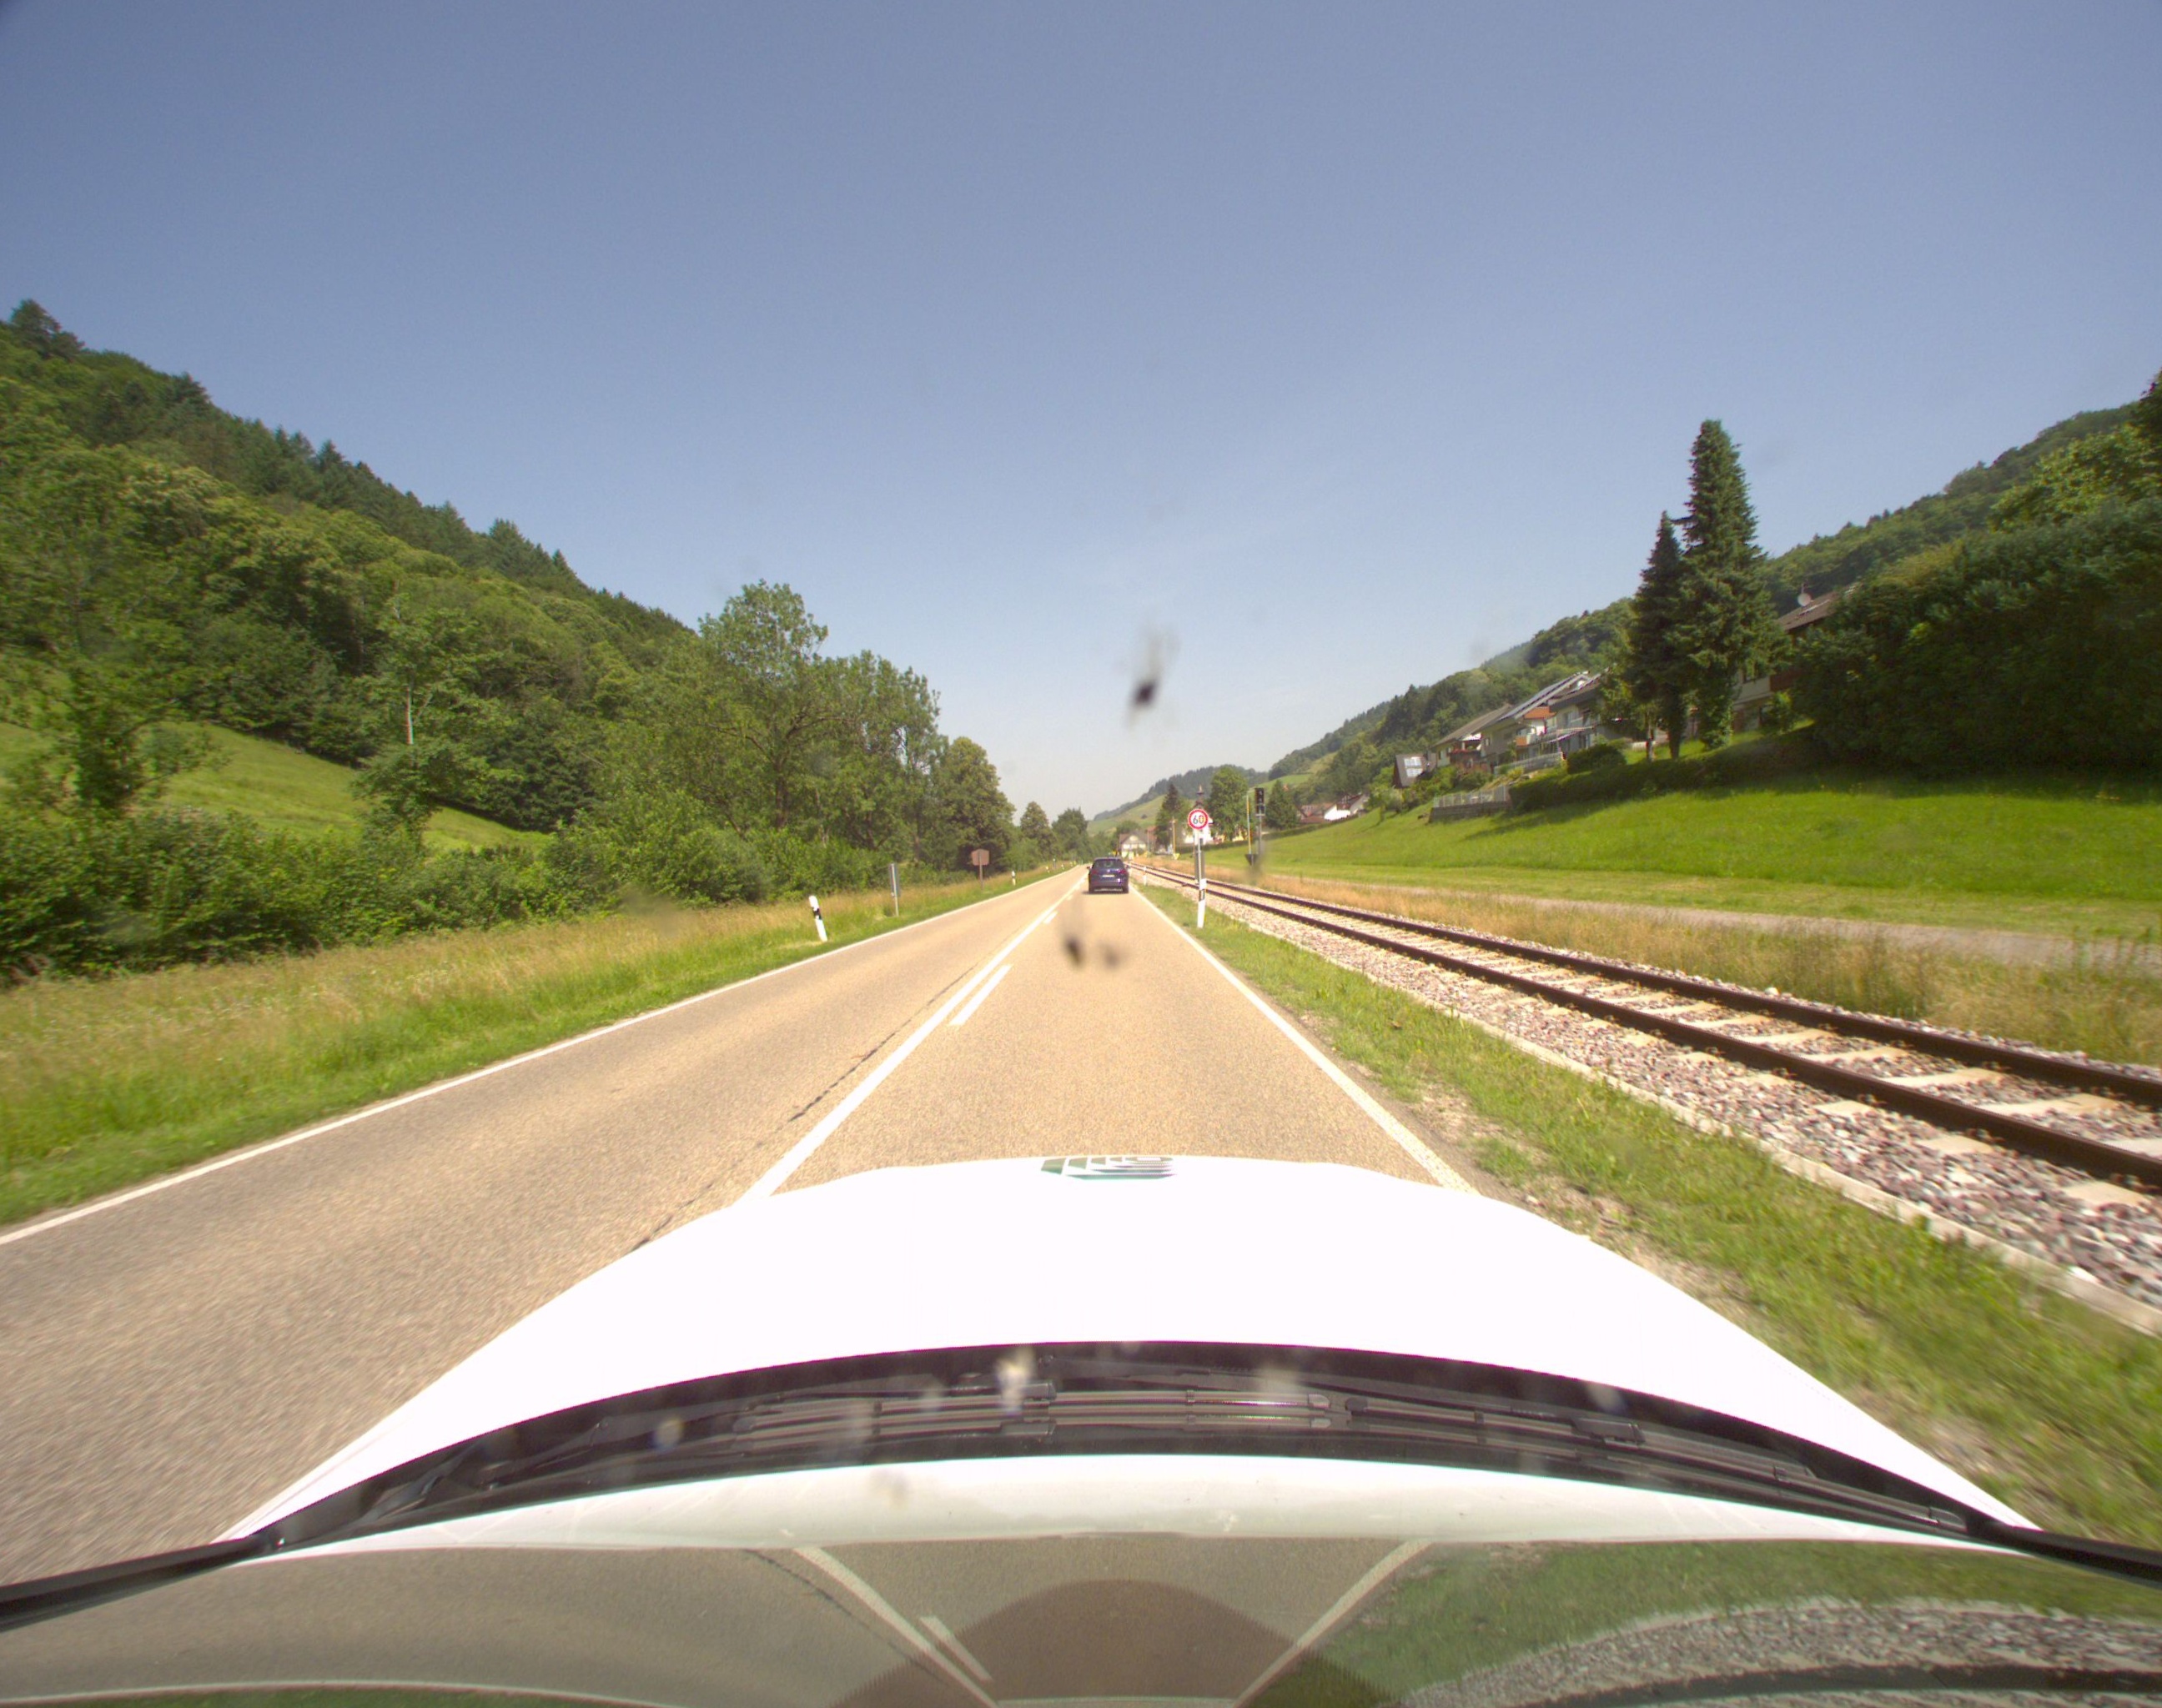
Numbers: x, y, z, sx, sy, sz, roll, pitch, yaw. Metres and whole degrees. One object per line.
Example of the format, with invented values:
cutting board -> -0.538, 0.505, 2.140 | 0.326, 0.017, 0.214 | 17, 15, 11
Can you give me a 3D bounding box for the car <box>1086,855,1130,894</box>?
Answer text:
car -> 1.316, 0.903, 37.407 | 1.844, 1.649, 4.144 | -1, 0, 4
